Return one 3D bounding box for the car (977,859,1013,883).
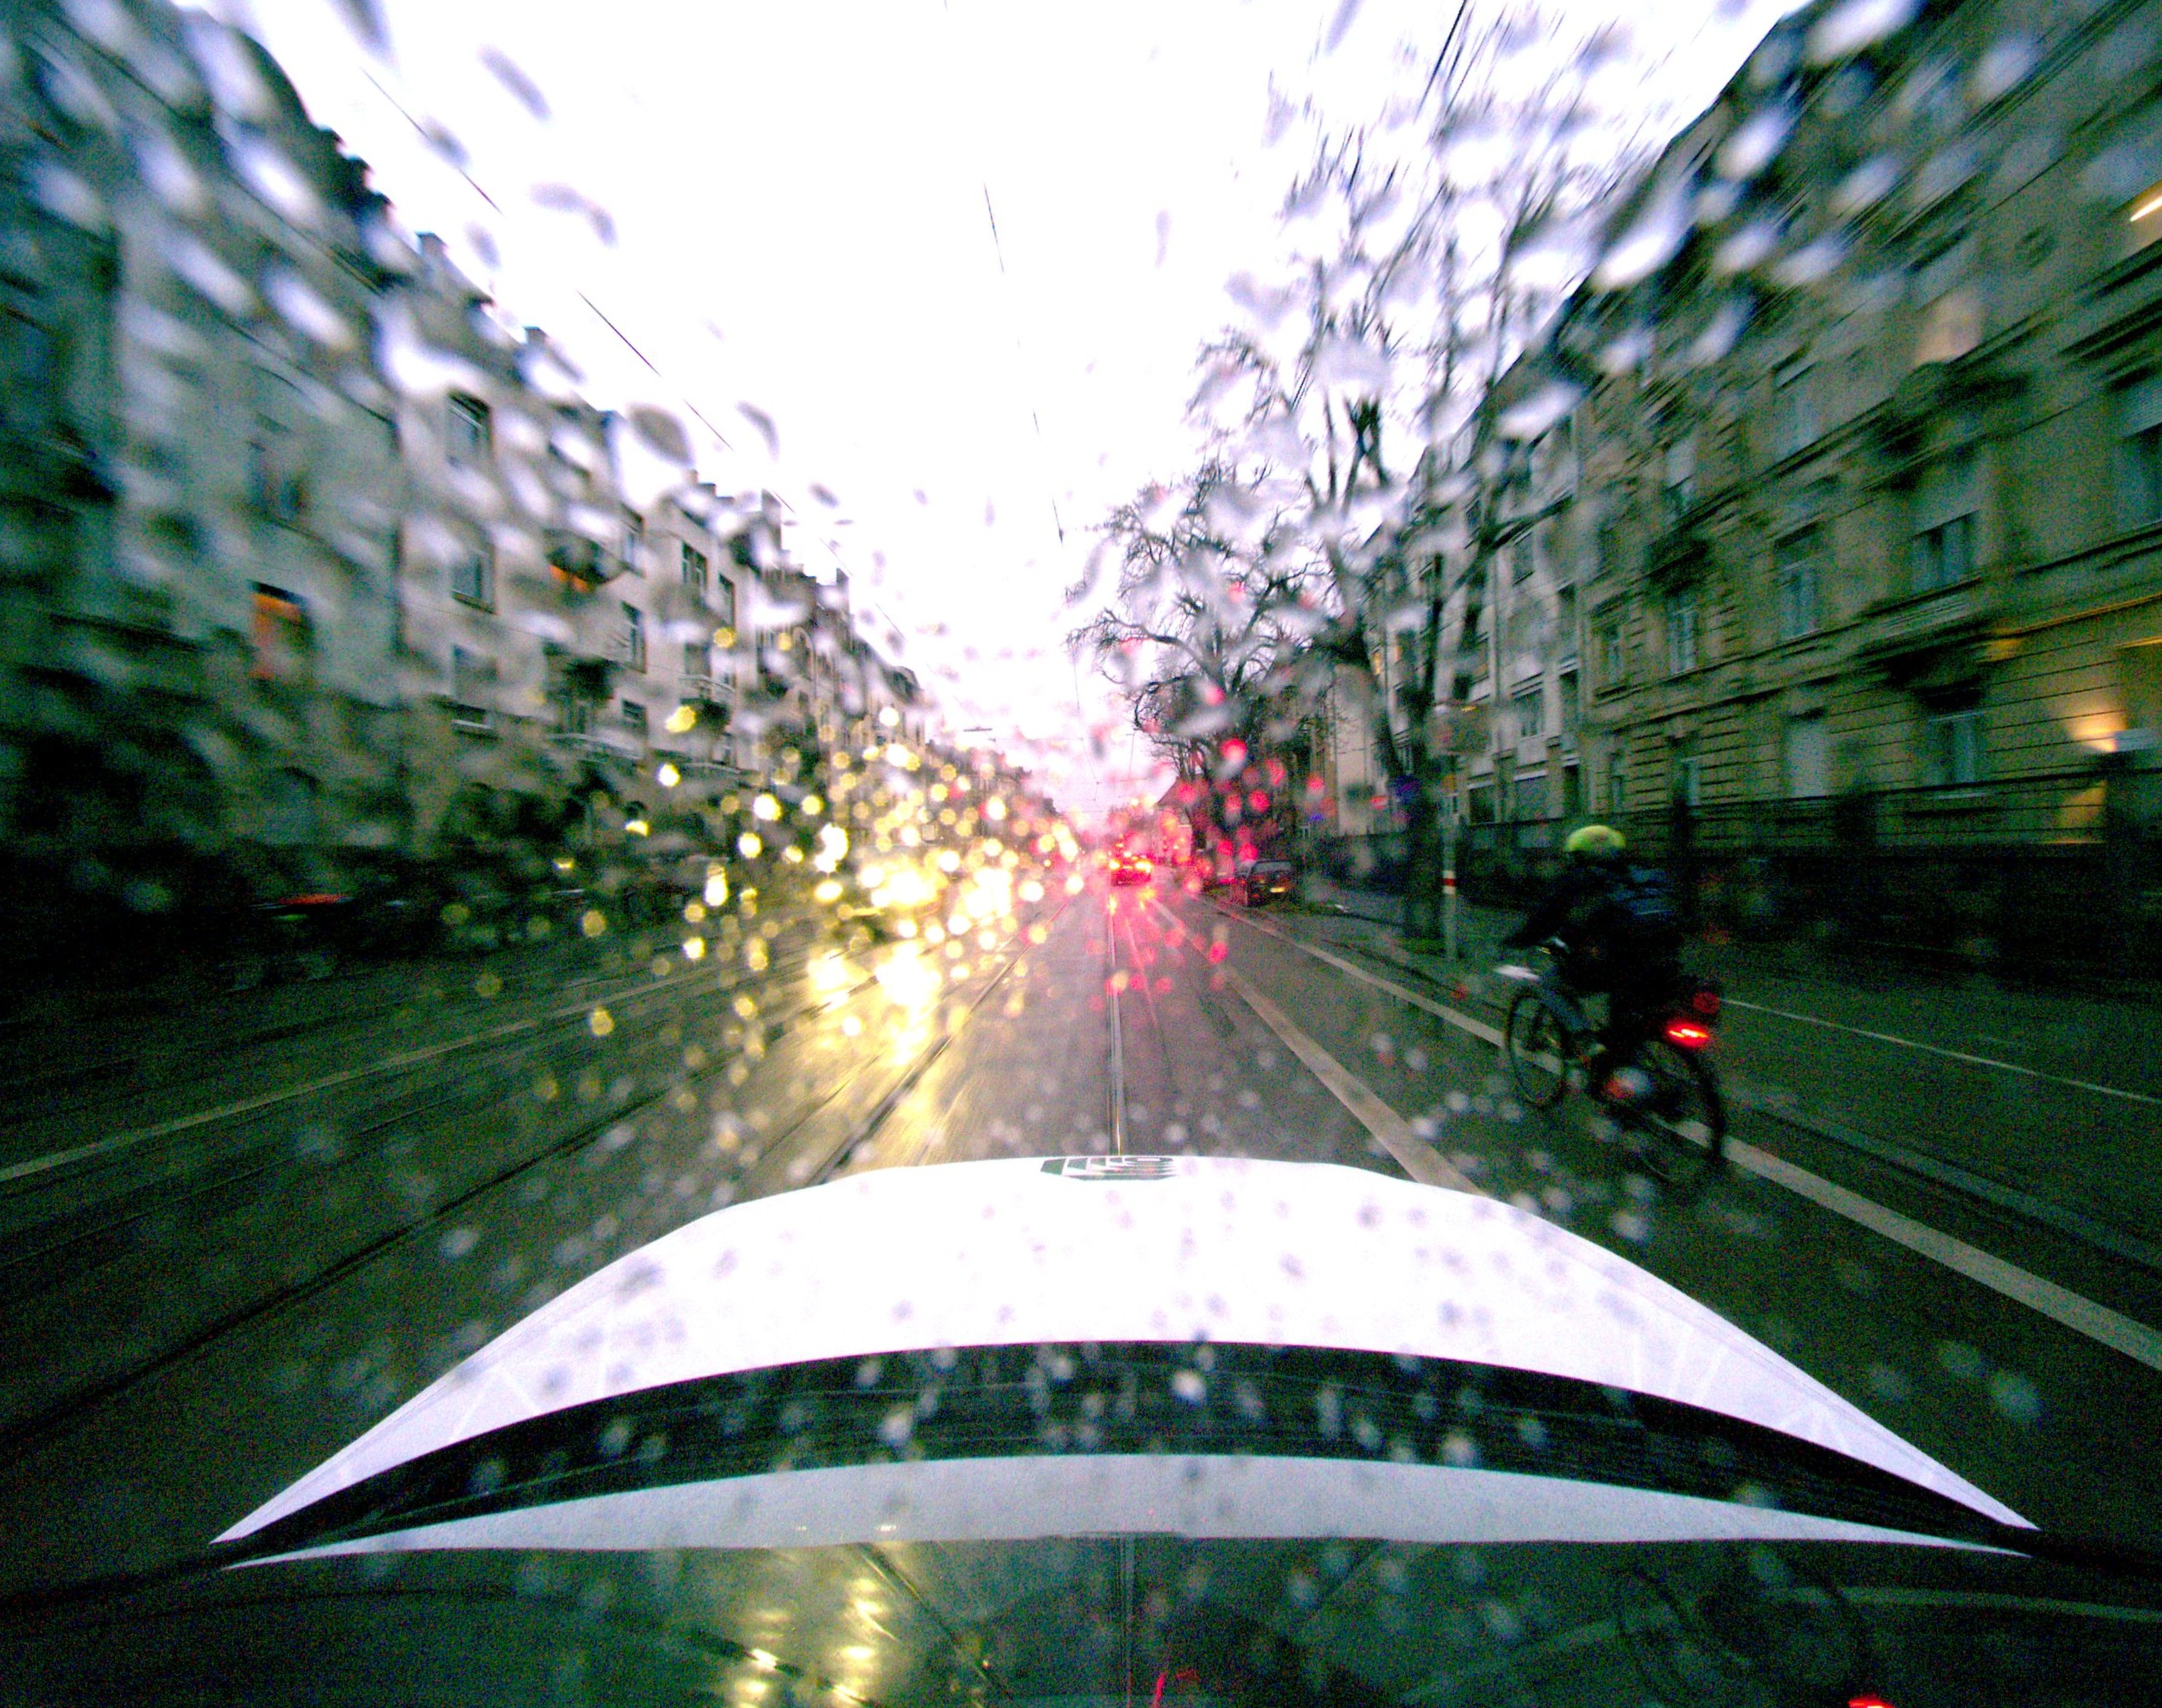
[{"bbox_3d":[-4.929,0.931,47.127,1.655,1.198,3.874,-2,1,0],"label":"car"}]

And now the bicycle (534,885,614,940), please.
[{"bbox_3d":[-10.375,1.190,16.722,0.690,1.031,1.594,-3,-4,-3],"label":"bicycle"}]

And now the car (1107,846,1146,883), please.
[{"bbox_3d":[2.458,0.608,44.897,1.986,1.897,4.759,-1,-1,1],"label":"car"}]

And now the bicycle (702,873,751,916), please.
[{"bbox_3d":[-10.014,1.120,23.057,0.484,1.099,1.931,-3,0,0],"label":"bicycle"}]

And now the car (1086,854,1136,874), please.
[{"bbox_3d":[3.049,0.998,82.105,4.924,1.717,1.699,-2,0,3],"label":"car"}]

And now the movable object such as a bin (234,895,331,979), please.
[{"bbox_3d":[-11.813,1.206,12.074,0.694,1.137,0.739,-2,0,-13],"label":"movable object such as a bin"}]

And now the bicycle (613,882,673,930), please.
[{"bbox_3d":[-10.252,1.203,19.121,0.691,1.031,1.592,-2,-1,-7],"label":"bicycle"}]

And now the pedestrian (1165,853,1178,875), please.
[{"bbox_3d":[8.321,0.893,74.842,1.019,2.013,0.919,-2,0,-2],"label":"pedestrian"}]

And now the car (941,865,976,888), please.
[{"bbox_3d":[-9.098,1.631,60.609,1.826,1.447,4.002,-2,1,2],"label":"car"}]

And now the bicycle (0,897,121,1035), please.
[{"bbox_3d":[-10.394,1.083,7.776,0.629,1.212,1.592,-2,1,-7],"label":"bicycle"}]

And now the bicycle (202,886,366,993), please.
[{"bbox_3d":[-10.513,1.081,10.826,0.691,1.212,1.592,-2,1,-7],"label":"bicycle"}]

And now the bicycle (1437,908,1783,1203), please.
[{"bbox_3d":[2.723,0.939,4.528,0.704,1.096,2.032,-2,1,5],"label":"bicycle"}]

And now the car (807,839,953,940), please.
[{"bbox_3d":[-4.414,0.681,18.777,2.040,1.922,5.099,-2,1,0],"label":"car"}]

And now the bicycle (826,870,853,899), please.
[{"bbox_3d":[-9.965,1.253,33.717,0.613,1.080,1.809,-2,1,-3],"label":"bicycle"}]

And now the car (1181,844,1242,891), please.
[{"bbox_3d":[5.886,0.539,37.217,1.986,1.900,5.028,-2,1,1],"label":"car"}]

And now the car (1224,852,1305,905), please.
[{"bbox_3d":[5.673,0.714,25.641,1.671,1.460,4.043,-2,0,1],"label":"car"}]

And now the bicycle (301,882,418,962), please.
[{"bbox_3d":[-12.225,1.153,13.820,1.582,1.264,0.490,-3,-5,5],"label":"bicycle"}]

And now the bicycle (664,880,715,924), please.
[{"bbox_3d":[-10.127,1.227,21.136,0.691,1.031,1.592,-2,-1,-7],"label":"bicycle"}]

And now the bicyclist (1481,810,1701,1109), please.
[{"bbox_3d":[2.697,0.515,4.402,0.653,1.446,0.850,-2,0,5],"label":"bicyclist"}]

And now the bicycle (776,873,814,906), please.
[{"bbox_3d":[-9.843,1.204,28.110,0.623,1.017,1.805,-3,0,0],"label":"bicycle"}]

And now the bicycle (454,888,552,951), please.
[{"bbox_3d":[-10.442,1.174,14.773,0.691,1.031,1.592,-3,-4,-3],"label":"bicycle"}]

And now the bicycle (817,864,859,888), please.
[{"bbox_3d":[-11.726,1.061,39.368,1.802,1.080,0.615,-2,0,-5],"label":"bicycle"}]

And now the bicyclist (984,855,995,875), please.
[{"bbox_3d":[-7.489,0.917,66.530,0.714,1.602,0.931,-2,0,-1],"label":"bicyclist"}]

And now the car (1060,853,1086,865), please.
[{"bbox_3d":[-1.374,0.851,131.648,3.983,1.717,1.899,-2,1,-7],"label":"car"}]

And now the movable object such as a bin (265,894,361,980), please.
[{"bbox_3d":[-11.187,1.182,11.883,0.694,1.137,0.739,-2,0,-13],"label":"movable object such as a bin"}]
